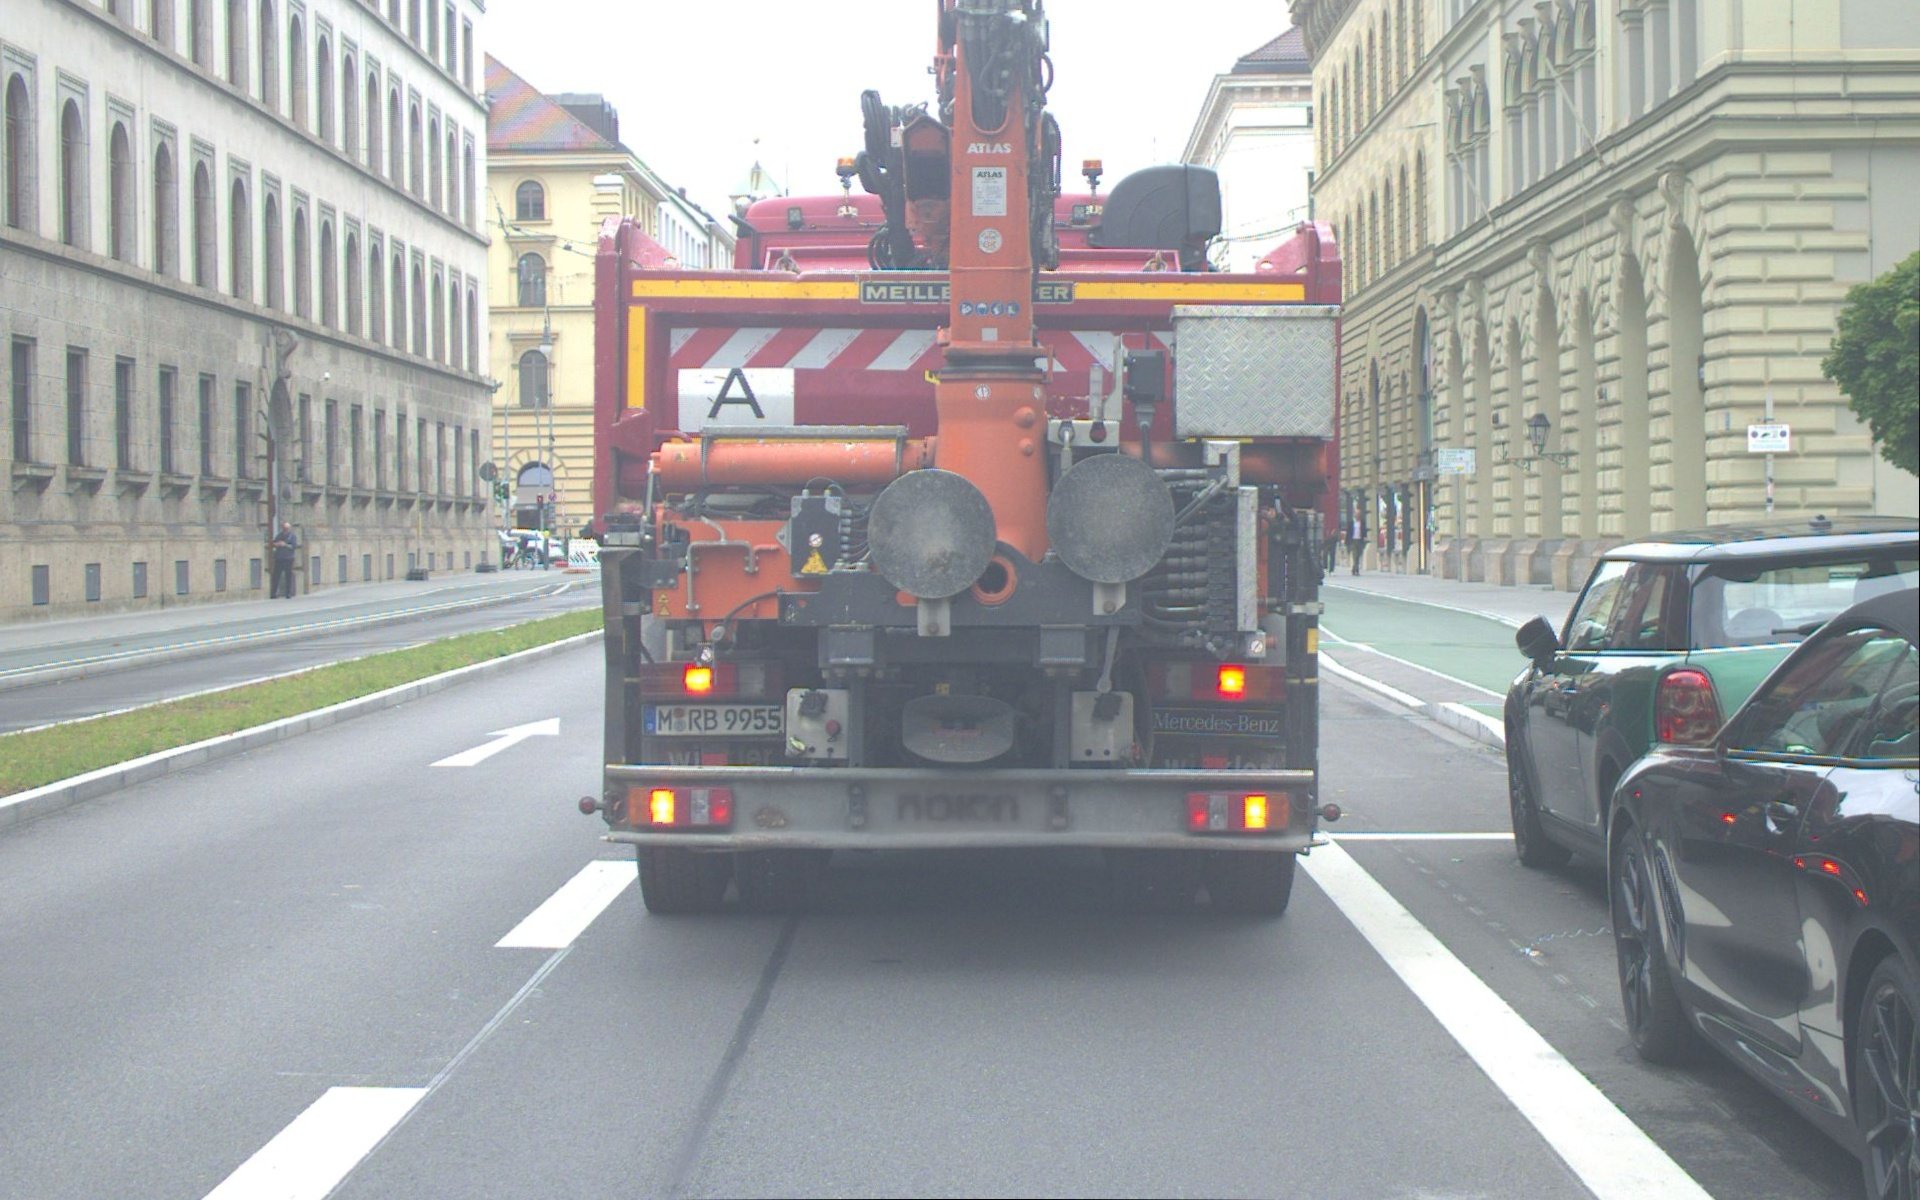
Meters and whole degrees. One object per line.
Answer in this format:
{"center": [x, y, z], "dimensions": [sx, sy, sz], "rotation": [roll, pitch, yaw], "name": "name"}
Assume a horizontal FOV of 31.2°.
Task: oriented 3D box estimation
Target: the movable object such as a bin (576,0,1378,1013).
{"center": [0.027, -0.624, 13.367], "dimensions": [2.423, 3.599, 5.852], "rotation": [0, 1, -1], "name": "movable object such as a bin"}

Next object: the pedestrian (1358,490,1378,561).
{"center": [10.473, -1.912, 88.275], "dimensions": [0.445, 1.830, 0.556], "rotation": [-1, 1, 2], "name": "pedestrian"}

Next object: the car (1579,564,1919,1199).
{"center": [2.623, 0.648, 7.730], "dimensions": [1.680, 1.381, 4.427], "rotation": [0, 2, 0], "name": "car"}

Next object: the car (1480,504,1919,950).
{"center": [3.082, 0.386, 13.357], "dimensions": [1.610, 1.490, 3.425], "rotation": [-1, 1, 0], "name": "car"}

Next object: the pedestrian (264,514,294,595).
{"center": [-15.391, -1.039, 77.692], "dimensions": [0.588, 1.825, 0.499], "rotation": [0, 2, -1], "name": "pedestrian"}

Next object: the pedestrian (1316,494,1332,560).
{"center": [9.355, -1.876, 88.374], "dimensions": [0.337, 1.666, 0.440], "rotation": [-1, 1, 2], "name": "pedestrian"}
